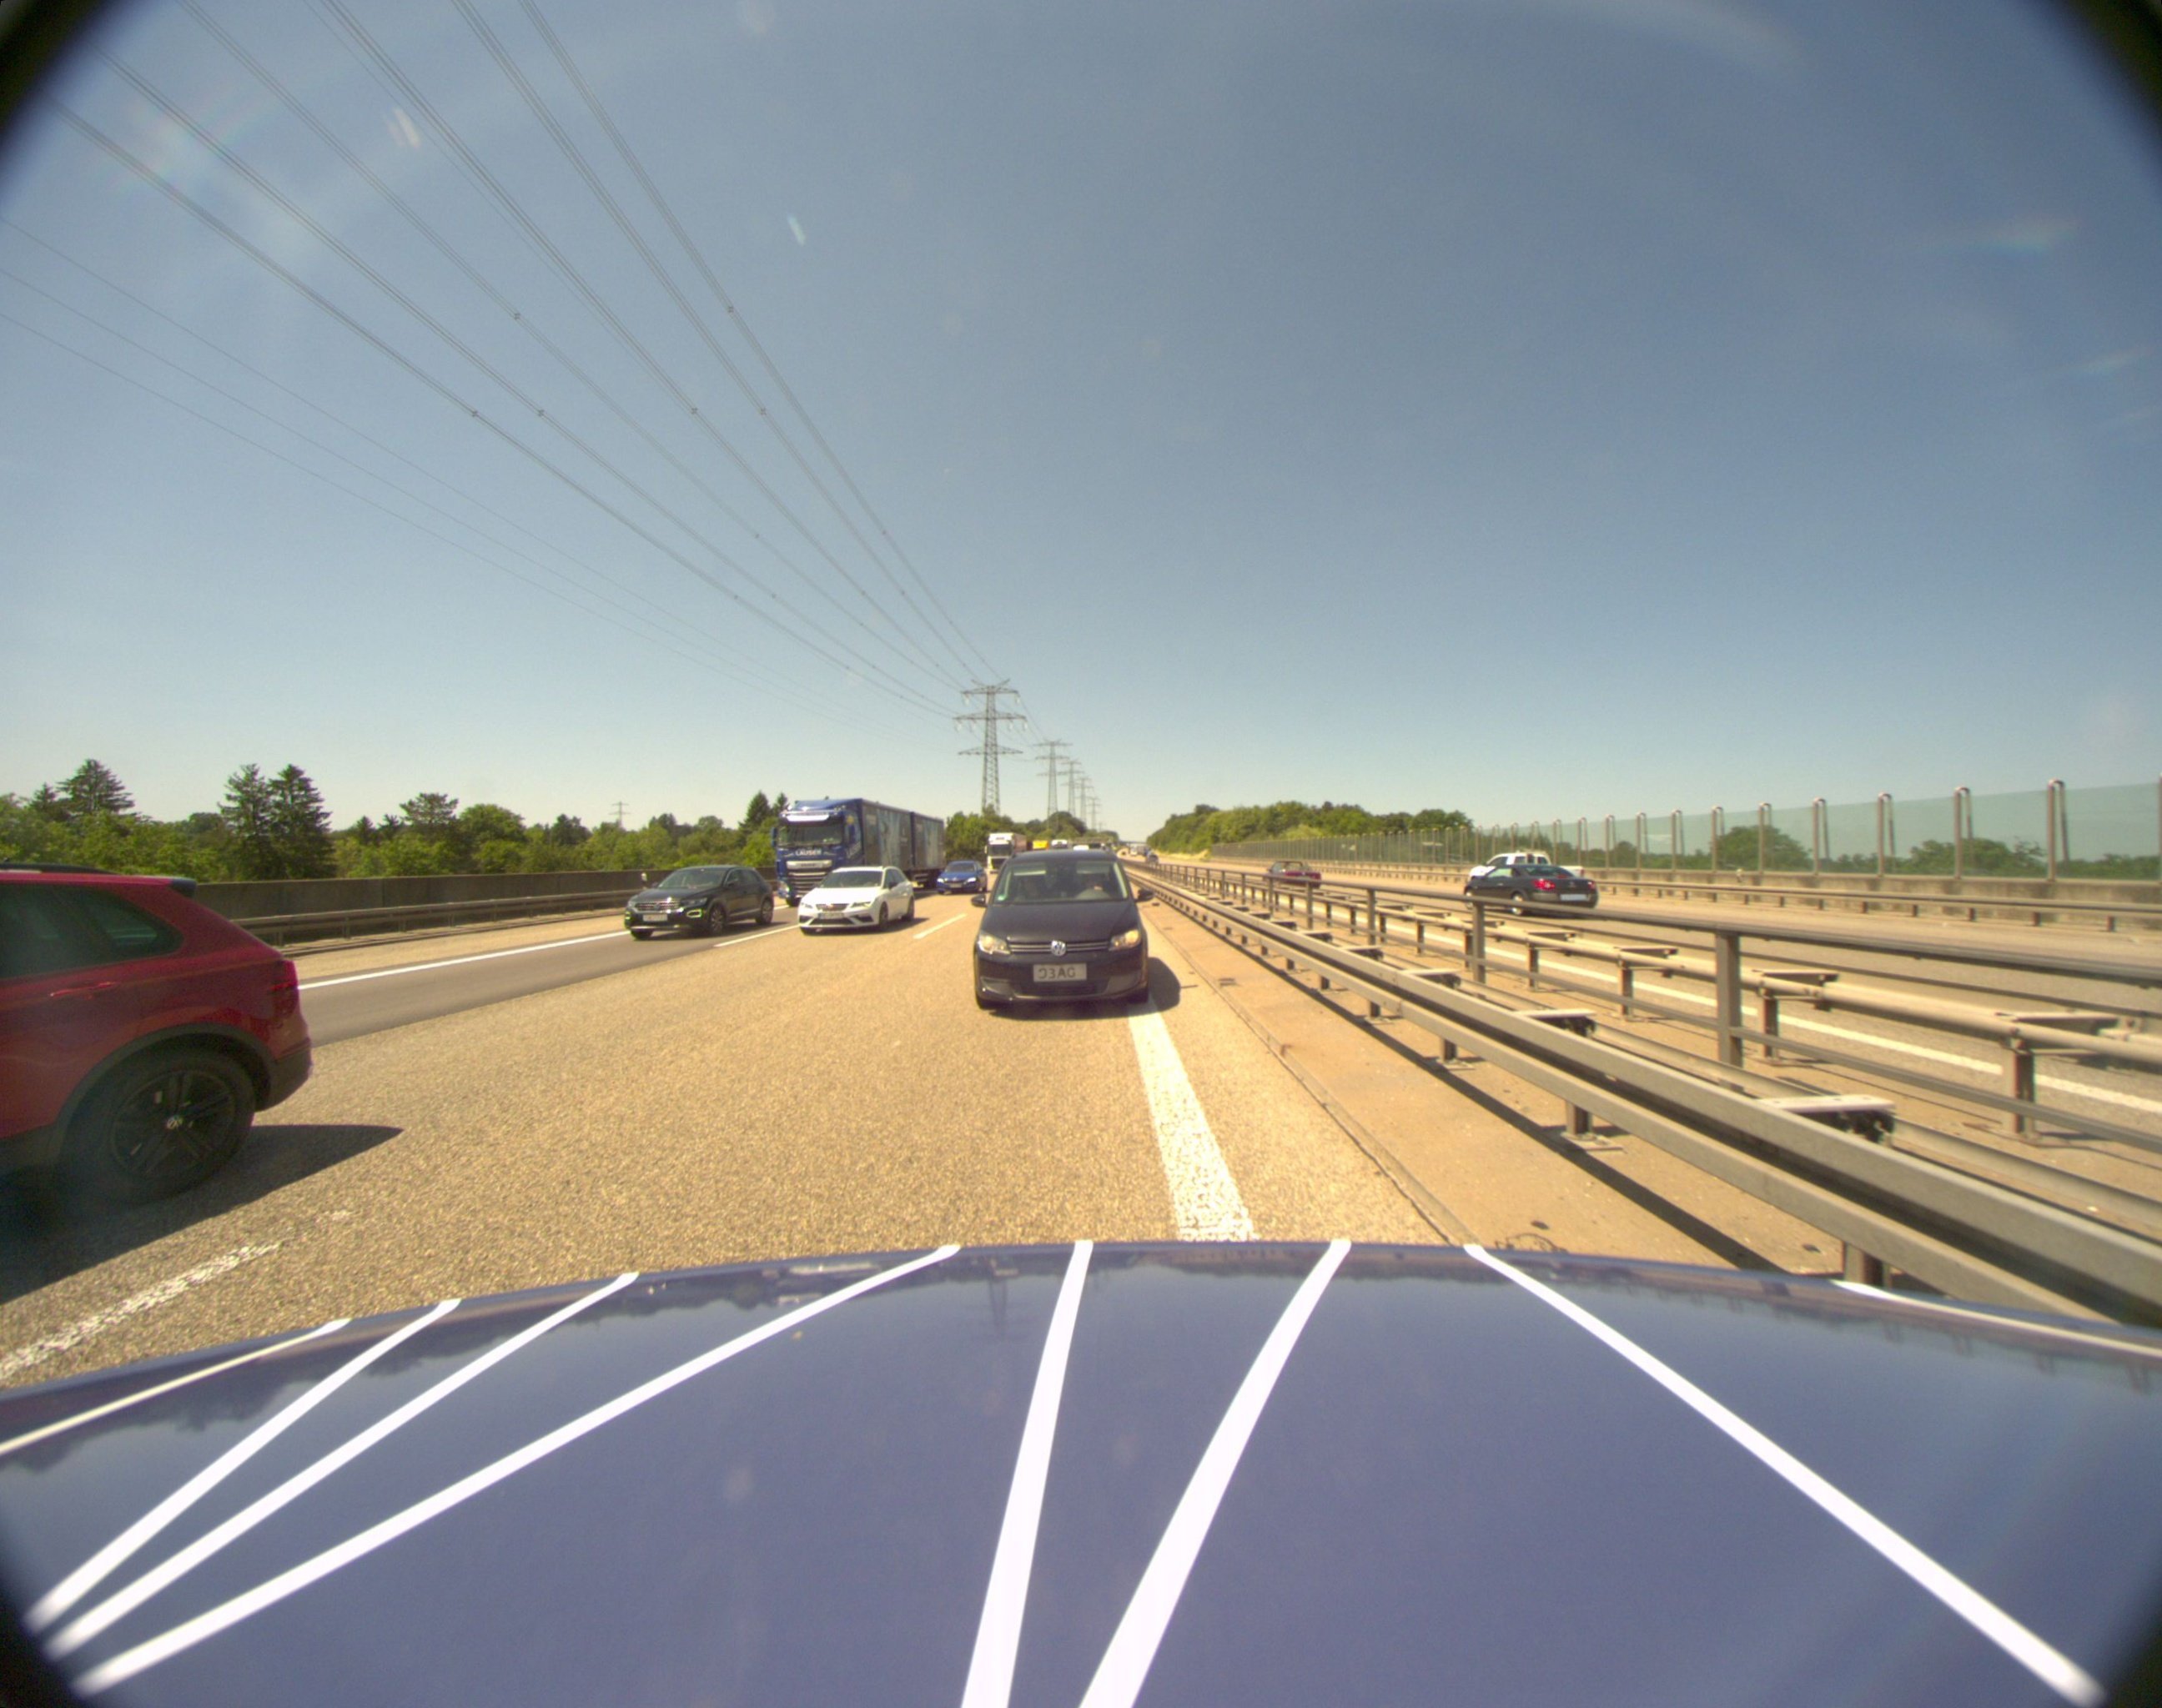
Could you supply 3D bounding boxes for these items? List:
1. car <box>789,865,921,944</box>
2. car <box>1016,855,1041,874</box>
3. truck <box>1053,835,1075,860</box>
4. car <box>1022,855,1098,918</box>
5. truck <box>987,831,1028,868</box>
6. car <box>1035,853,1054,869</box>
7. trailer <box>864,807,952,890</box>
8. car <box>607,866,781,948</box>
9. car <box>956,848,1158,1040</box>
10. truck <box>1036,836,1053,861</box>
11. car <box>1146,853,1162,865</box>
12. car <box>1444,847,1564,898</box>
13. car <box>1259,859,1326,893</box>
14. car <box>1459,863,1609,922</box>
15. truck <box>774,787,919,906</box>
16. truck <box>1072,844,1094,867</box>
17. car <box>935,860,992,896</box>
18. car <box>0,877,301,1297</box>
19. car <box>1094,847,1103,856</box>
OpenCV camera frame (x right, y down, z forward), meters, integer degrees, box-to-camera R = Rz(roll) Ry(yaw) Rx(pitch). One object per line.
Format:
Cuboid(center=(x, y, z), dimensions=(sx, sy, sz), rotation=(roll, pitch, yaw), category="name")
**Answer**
Cuboid(center=(-5.092, 1.063, 17.710), dimensions=(1.843, 1.481, 4.071), rotation=(-2, 0, -1), category="car")
Cuboid(center=(-4.407, 0.852, 64.229), dimensions=(1.763, 1.495, 4.094), rotation=(-1, 0, 0), category="car")
Cuboid(center=(-2.720, -1.048, 122.562), dimensions=(2.980, 3.832, 10.561), rotation=(-2, 1, 1), category="truck")
Cuboid(center=(-0.488, 0.798, 20.822), dimensions=(1.845, 1.495, 4.377), rotation=(-1, 0, 1), category="car")
Cuboid(center=(-7.645, -0.536, 80.436), dimensions=(2.985, 3.538, 10.967), rotation=(-2, 1, 1), category="truck")
Cuboid(center=(-3.754, 0.708, 79.010), dimensions=(1.763, 1.495, 4.094), rotation=(-1, 0, 0), category="car")
Cuboid(center=(-9.094, -0.277, 40.963), dimensions=(2.572, 3.921, 8.479), rotation=(-2, 0, 1), category="trailer")
Cuboid(center=(-8.588, 1.097, 17.314), dimensions=(1.740, 1.518, 4.106), rotation=(-2, 0, 1), category="car")
Cuboid(center=(-0.201, 0.785, 8.764), dimensions=(1.740, 1.652, 3.999), rotation=(-2, 1, 0), category="car")
Cuboid(center=(-6.371, -0.972, 134.343), dimensions=(2.346, 4.058, 8.278), rotation=(-2, 1, 1), category="truck")
Cuboid(center=(10.849, 0.674, 113.166), dimensions=(1.810, 1.618, 4.477), rotation=(-3, 0, 0), category="car")
Cuboid(center=(17.227, 0.703, 31.344), dimensions=(1.998, 1.874, 5.256), rotation=(1, 0, 0), category="car")
Cuboid(center=(8.765, 0.870, 31.832), dimensions=(1.601, 1.310, 4.341), rotation=(1, 0, 0), category="car")
Cuboid(center=(12.098, 0.970, 20.637), dimensions=(1.601, 1.342, 4.179), rotation=(1, 0, 1), category="car")
Cuboid(center=(-9.207, -0.270, 31.444), dimensions=(2.529, 4.043, 10.447), rotation=(-2, 0, 1), category="truck")
Cuboid(center=(0.273, 0.163, 86.623), dimensions=(2.284, 2.479, 5.861), rotation=(-2, 0, 1), category="truck")
Cuboid(center=(-5.268, 1.040, 34.477), dimensions=(1.739, 1.437, 4.211), rotation=(-1, 0, 2), category="car")
Cuboid(center=(-5.261, 0.981, 2.106), dimensions=(1.779, 1.652, 4.224), rotation=(-1, 0, 0), category="car")
Cuboid(center=(4.222, -0.645, 182.109), dimensions=(1.998, 2.002, 4.000), rotation=(-2, 1, 1), category="car")
